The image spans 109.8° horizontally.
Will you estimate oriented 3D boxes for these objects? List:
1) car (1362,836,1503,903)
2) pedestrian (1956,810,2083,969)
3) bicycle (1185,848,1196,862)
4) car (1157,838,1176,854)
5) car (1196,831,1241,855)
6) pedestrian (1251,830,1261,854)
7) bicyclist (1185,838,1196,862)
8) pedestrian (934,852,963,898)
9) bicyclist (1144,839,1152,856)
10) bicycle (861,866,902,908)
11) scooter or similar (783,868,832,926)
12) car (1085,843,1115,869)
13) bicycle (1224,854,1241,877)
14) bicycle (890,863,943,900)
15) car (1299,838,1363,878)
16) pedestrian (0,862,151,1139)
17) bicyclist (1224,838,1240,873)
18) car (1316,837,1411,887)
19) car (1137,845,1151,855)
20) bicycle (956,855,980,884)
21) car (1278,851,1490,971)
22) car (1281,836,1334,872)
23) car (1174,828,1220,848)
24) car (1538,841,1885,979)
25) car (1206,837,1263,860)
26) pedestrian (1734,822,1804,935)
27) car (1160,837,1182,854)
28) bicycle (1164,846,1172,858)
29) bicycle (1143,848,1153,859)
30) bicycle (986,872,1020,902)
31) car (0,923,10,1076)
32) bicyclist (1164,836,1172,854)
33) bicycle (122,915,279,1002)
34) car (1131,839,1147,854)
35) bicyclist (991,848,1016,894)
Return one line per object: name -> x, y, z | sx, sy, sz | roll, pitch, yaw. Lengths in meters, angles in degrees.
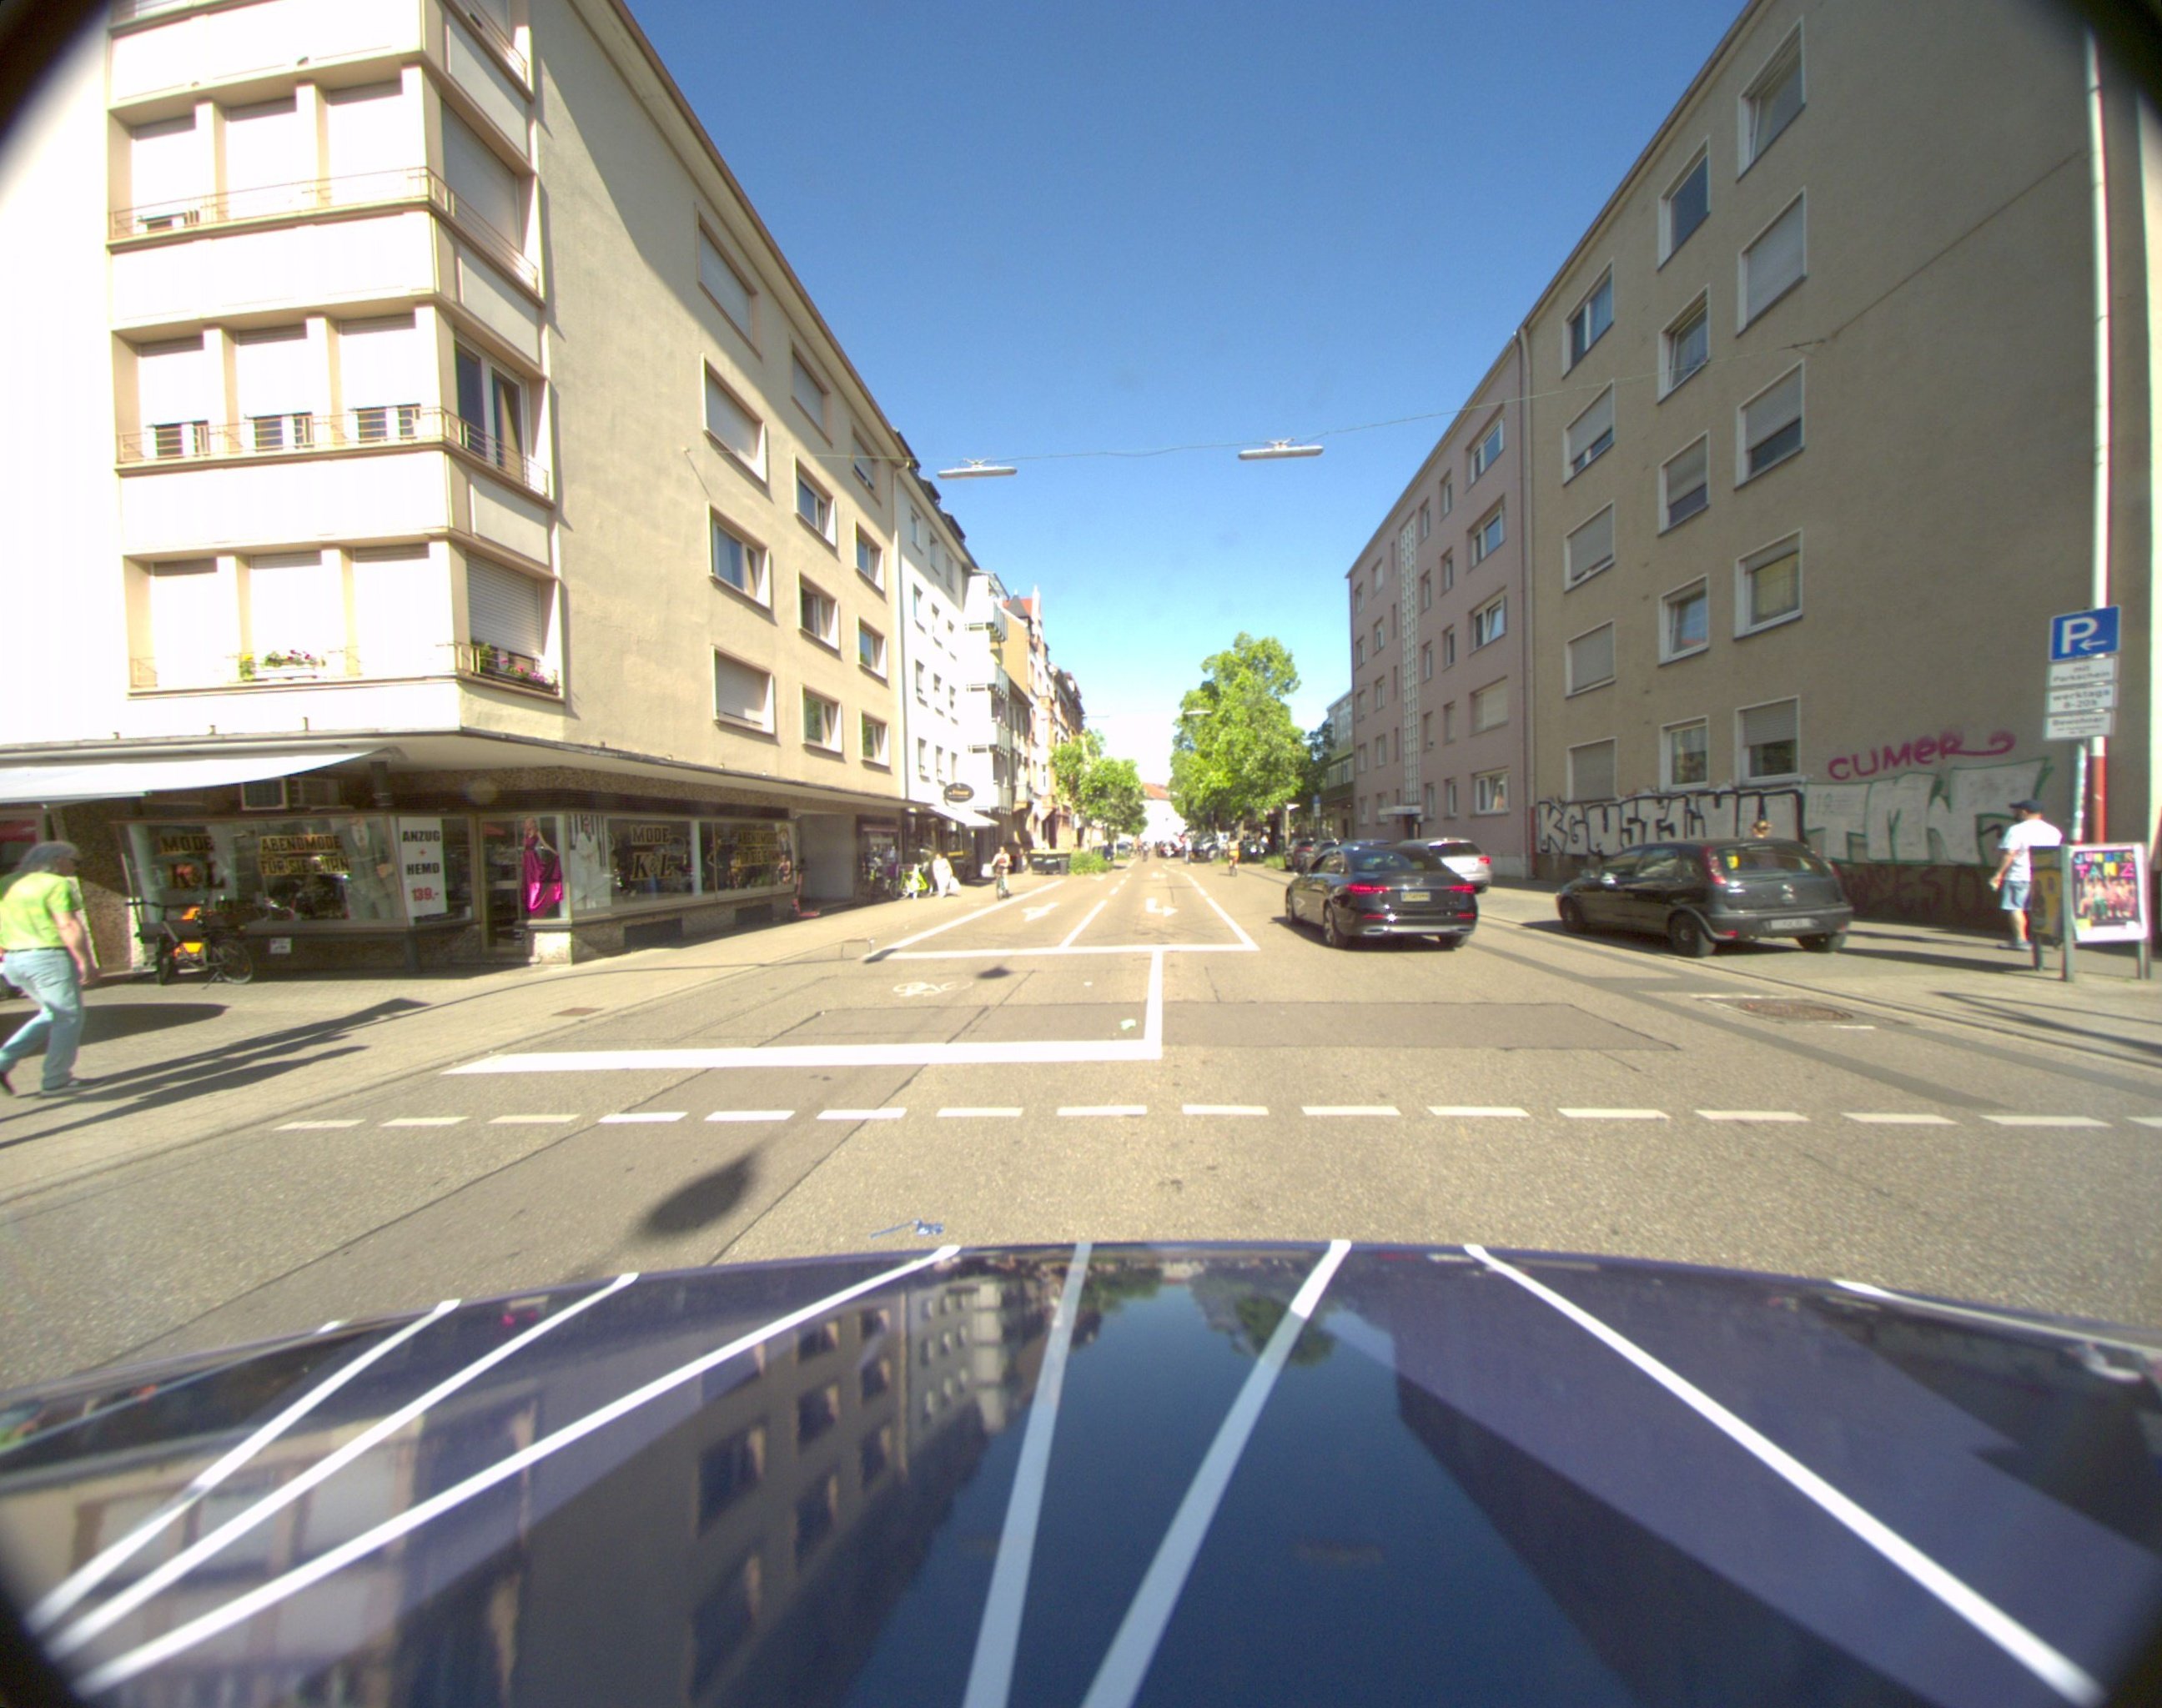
car -> 9.233, 0.324, 20.459 | 1.827, 1.495, 4.802 | -4, 1, 4
pedestrian -> 10.393, 0.378, 8.440 | 0.574, 1.679, 0.669 | -1, 2, 6
bicycle -> 7.712, 0.058, 53.632 | 0.681, 0.947, 1.934 | -2, 1, 6
car -> 9.083, -0.882, 81.176 | 1.910, 1.543, 4.001 | -2, 1, 5
car -> 12.605, -0.994, 69.826 | 3.874, 2.031, 1.913 | -1, 1, 8
pedestrian -> 13.142, -0.895, 57.044 | 0.622, 1.796, 0.502 | -2, 2, 6
bicyclist -> 7.713, -0.289, 53.534 | 0.681, 1.621, 0.899 | -2, 1, 6
pedestrian -> -4.296, 0.677, 24.589 | 0.775, 1.434, 0.625 | -1, 2, 1
bicyclist -> 5.467, -0.522, 62.213 | 0.544, 1.383, 0.788 | -2, 1, 0
bicycle -> -5.714, 0.919, 21.862 | 0.407, 1.078, 1.801 | 1, 1, 11
scooter or similar -> -6.146, 0.952, 17.141 | 0.527, 1.218, 1.229 | -1, 1, 6
car -> 1.276, 0.093, 49.841 | 1.627, 1.587, 3.547 | -2, 1, 6
bicycle -> 6.632, 0.493, 33.398 | 0.544, 0.897, 1.826 | -1, 1, 6
bicycle -> -5.229, 0.858, 24.135 | 1.497, 1.100, 0.722 | -2, 2, -26
car -> 10.381, 0.116, 31.851 | 1.726, 1.459, 4.159 | -4, 1, 7
pedestrian -> -7.221, 0.952, 5.202 | 0.663, 1.748, 0.763 | -2, 2, 11
bicyclist -> 6.612, 0.051, 33.289 | 0.544, 1.512, 0.774 | -1, 2, 6
car -> 9.910, 0.220, 27.072 | 1.827, 1.495, 4.802 | -4, 1, 4
car -> 8.092, -0.545, 97.544 | 1.627, 1.270, 3.548 | -1, 1, 7
bicycle -> -4.749, 0.648, 32.052 | 0.598, 1.137, 1.774 | 1, 1, 6
car -> 4.334, 0.703, 11.675 | 1.808, 1.405, 4.426 | 0, 1, 5
car -> 10.987, -0.041, 37.156 | 1.726, 1.567, 4.159 | -4, 1, 7
car -> 14.810, -2.080, 97.496 | 5.558, 2.379, 1.977 | -2, 1, -1
car -> 8.167, 0.597, 10.386 | 1.695, 1.440, 3.857 | -4, 1, 4
car -> 11.223, -0.414, 55.711 | 3.994, 1.543, 1.913 | -1, 1, 8
pedestrian -> 9.859, 0.346, 10.903 | 0.532, 1.572, 0.563 | -1, 2, 13
car -> 8.504, -0.814, 71.830 | 1.910, 1.543, 4.001 | -2, 1, 5
bicycle -> 7.496, -0.193, 65.628 | 0.681, 0.947, 1.934 | 0, 1, 6
bicycle -> 5.474, -0.031, 62.292 | 0.544, 0.897, 1.825 | -2, 1, -1
bicycle -> -2.400, 1.008, 23.651 | 0.582, 0.801, 1.710 | -1, 1, 10
car -> -10.862, 1.042, 5.490 | 3.995, 1.653, 1.826 | -1, 1, 6
bicyclist -> 7.507, -0.774, 65.680 | 0.681, 1.567, 0.899 | 0, 2, 6
bicycle -> -11.424, 1.325, 9.857 | 1.891, 1.011, 0.568 | -1, 1, 17
car -> 6.415, -0.863, 83.318 | 1.627, 1.587, 3.547 | -2, 1, 6
bicyclist -> -2.412, 0.524, 23.634 | 0.582, 1.369, 0.665 | -1, 2, 10
